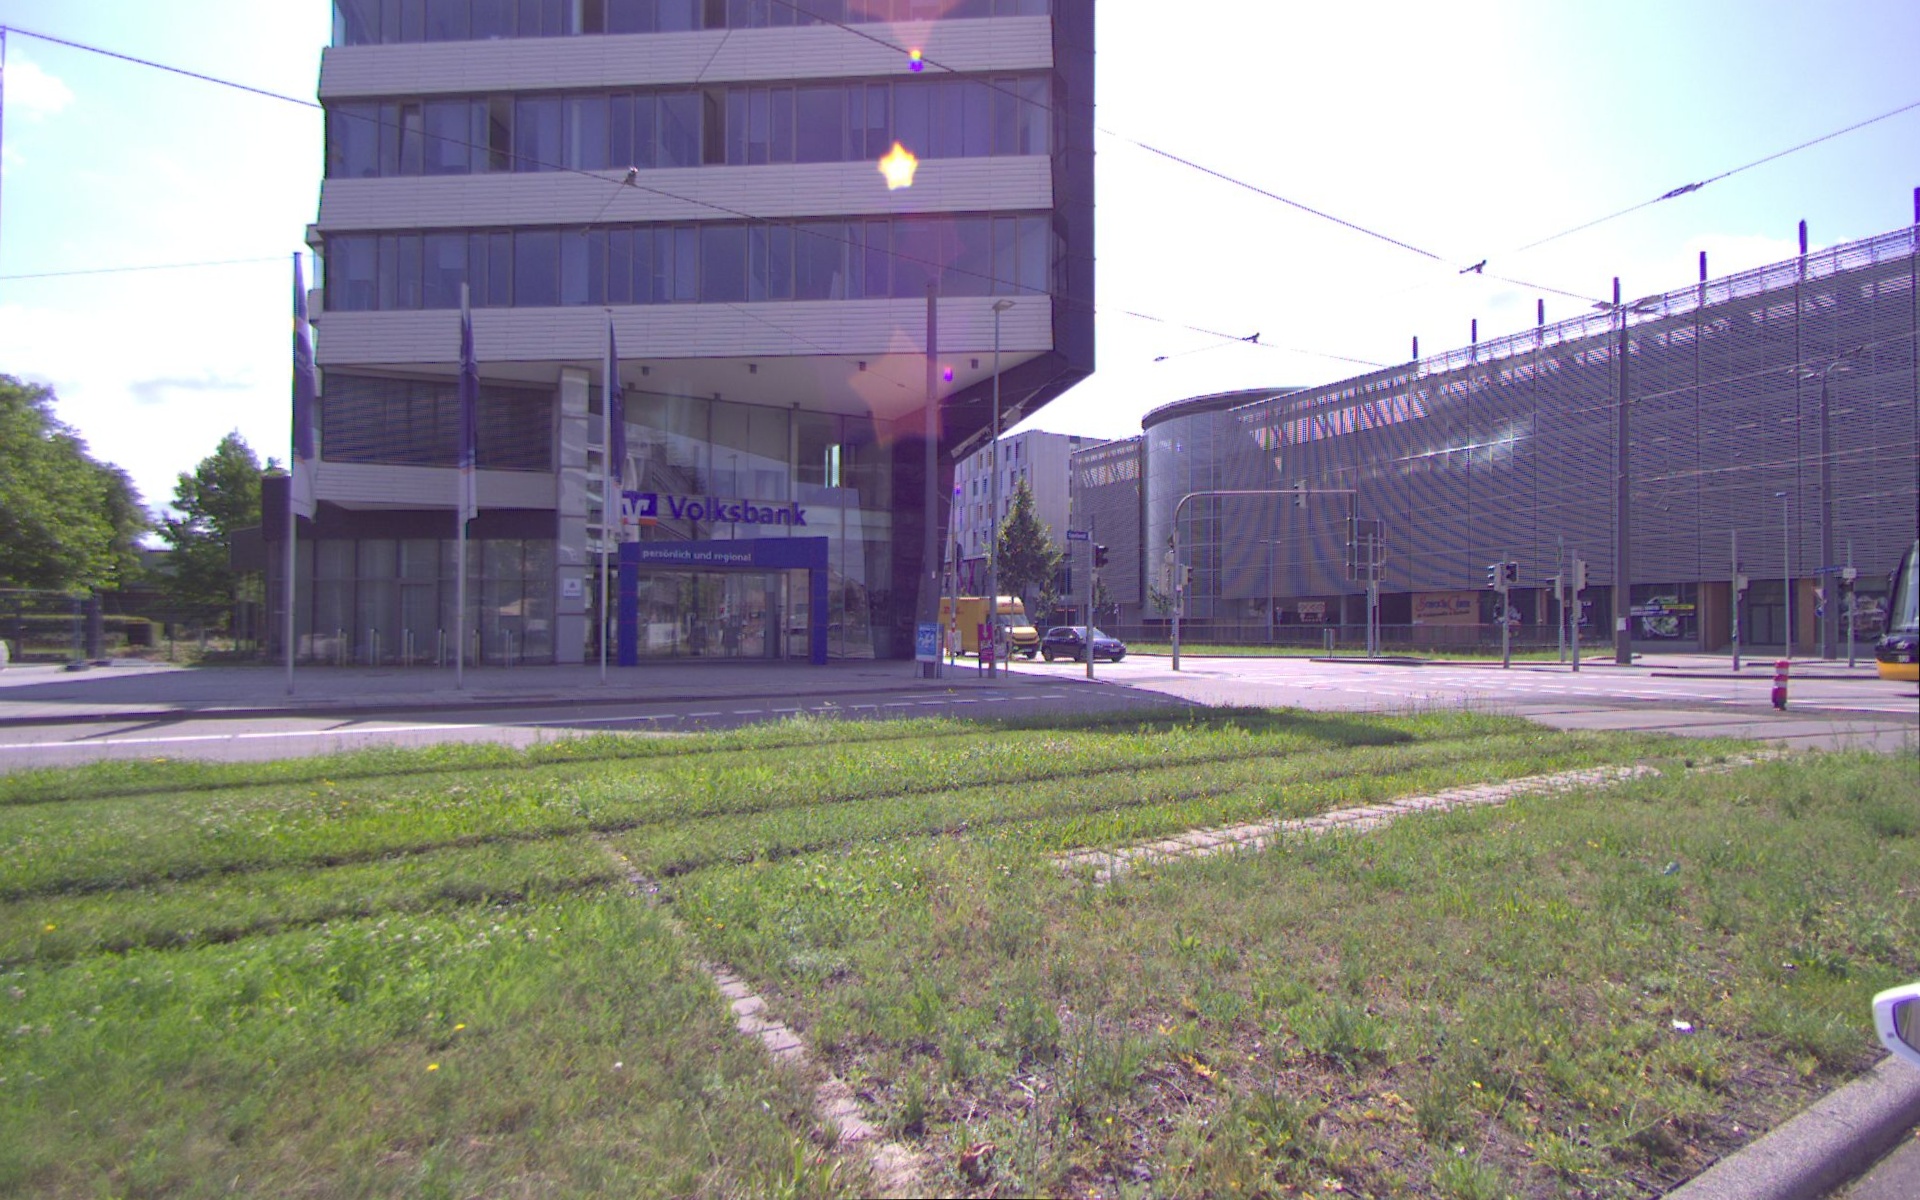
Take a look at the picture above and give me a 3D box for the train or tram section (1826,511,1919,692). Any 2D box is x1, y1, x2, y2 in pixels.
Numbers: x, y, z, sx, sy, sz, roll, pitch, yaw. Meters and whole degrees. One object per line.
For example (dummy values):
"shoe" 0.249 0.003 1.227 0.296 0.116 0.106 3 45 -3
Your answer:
"train or tram section" 26.014 0.072 20.233 13.225 3.647 3.229 0 0 10

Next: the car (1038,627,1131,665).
"car" 5.030 1.844 41.085 1.805 1.488 4.082 1 -2 -28

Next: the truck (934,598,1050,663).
"truck" 1.389 1.449 47.992 2.417 2.866 6.817 1 -2 -30
